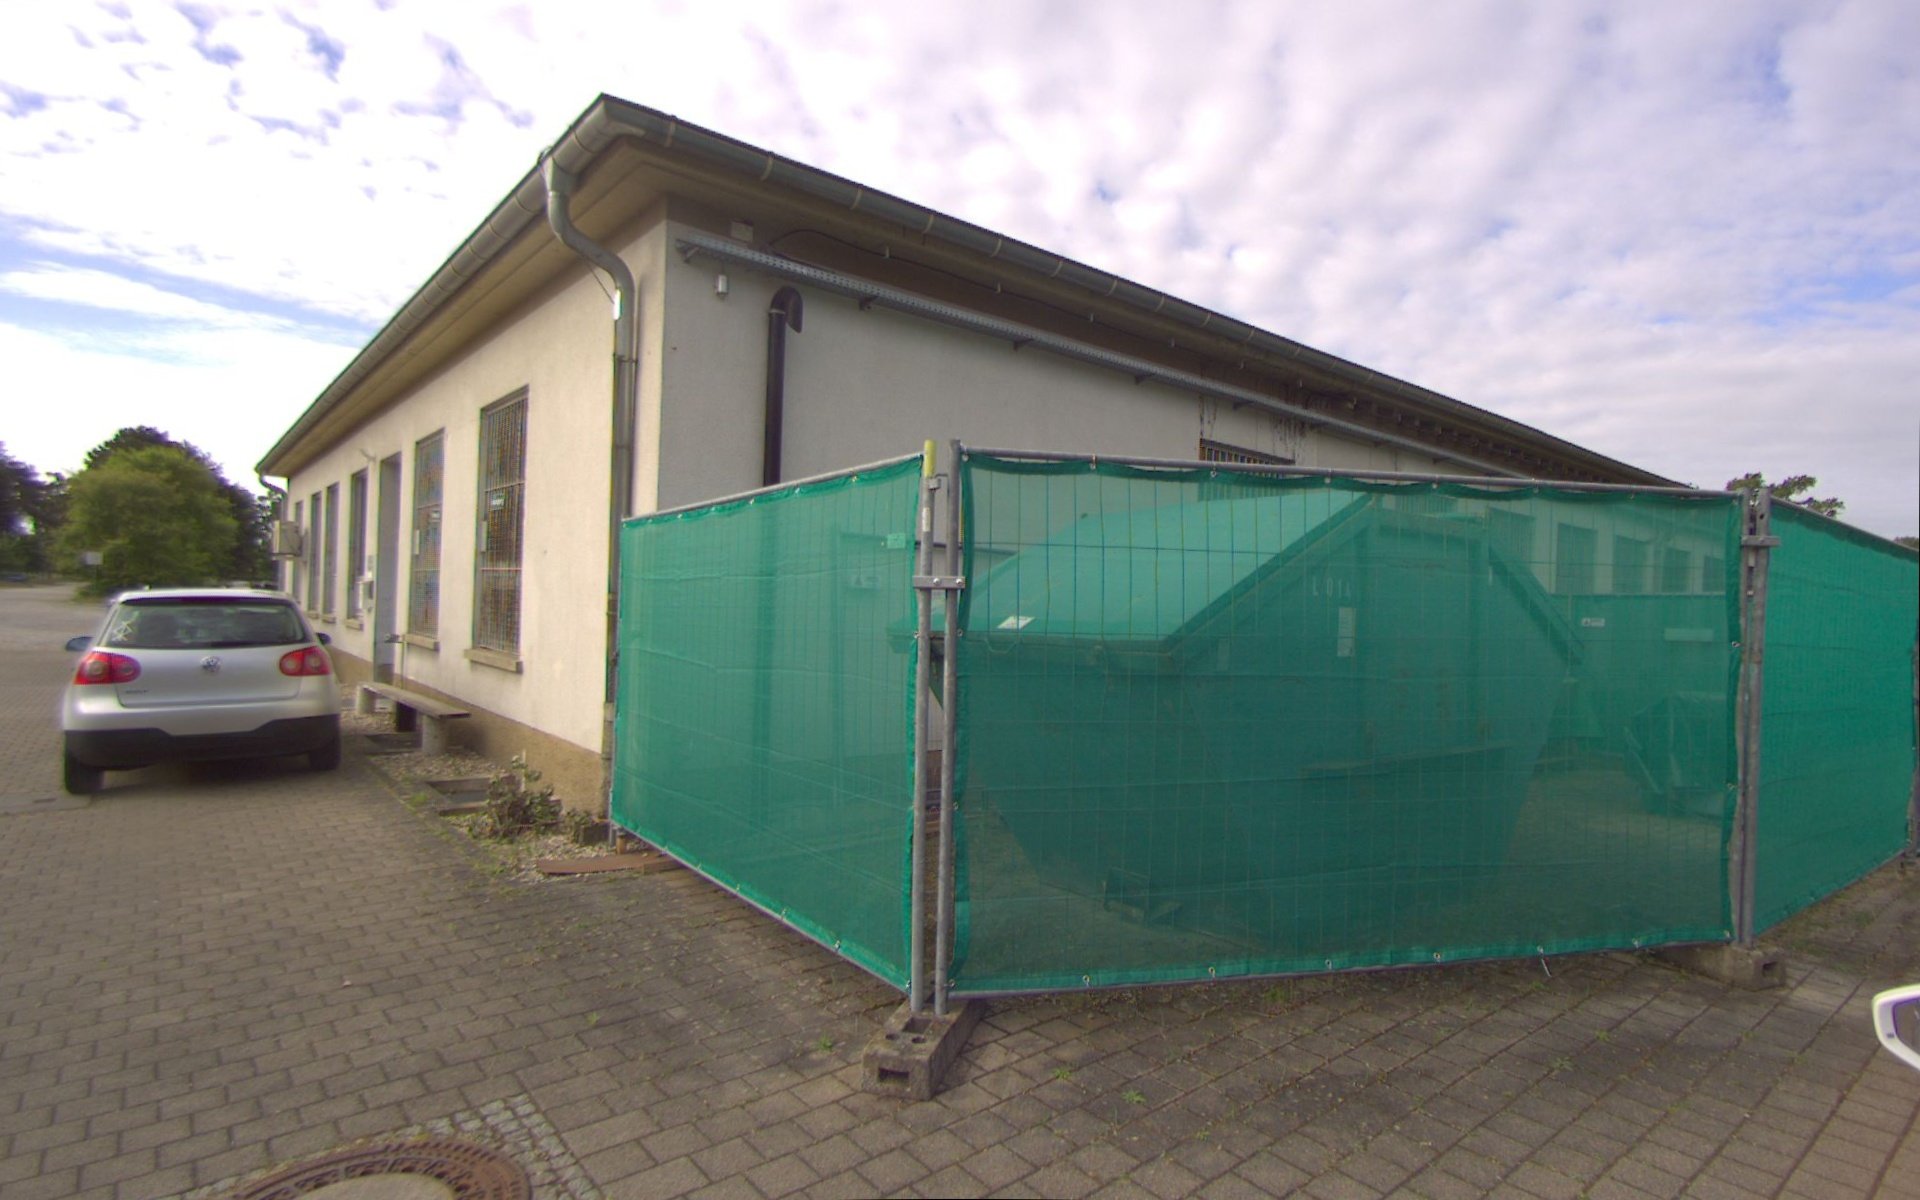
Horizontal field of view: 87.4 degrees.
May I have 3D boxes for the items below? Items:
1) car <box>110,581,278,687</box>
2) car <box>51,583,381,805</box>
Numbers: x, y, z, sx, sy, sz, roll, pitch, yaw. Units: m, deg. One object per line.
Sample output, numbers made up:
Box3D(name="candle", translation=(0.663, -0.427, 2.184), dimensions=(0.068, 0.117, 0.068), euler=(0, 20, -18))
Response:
Box3D(name="car", translation=(-12.727, 0.482, 16.594), dimensions=(1.915, 1.480, 4.755), euler=(3, -1, -40))
Box3D(name="car", translation=(-6.696, 0.620, 8.983), dimensions=(1.915, 1.458, 4.317), euler=(1, 0, -40))
